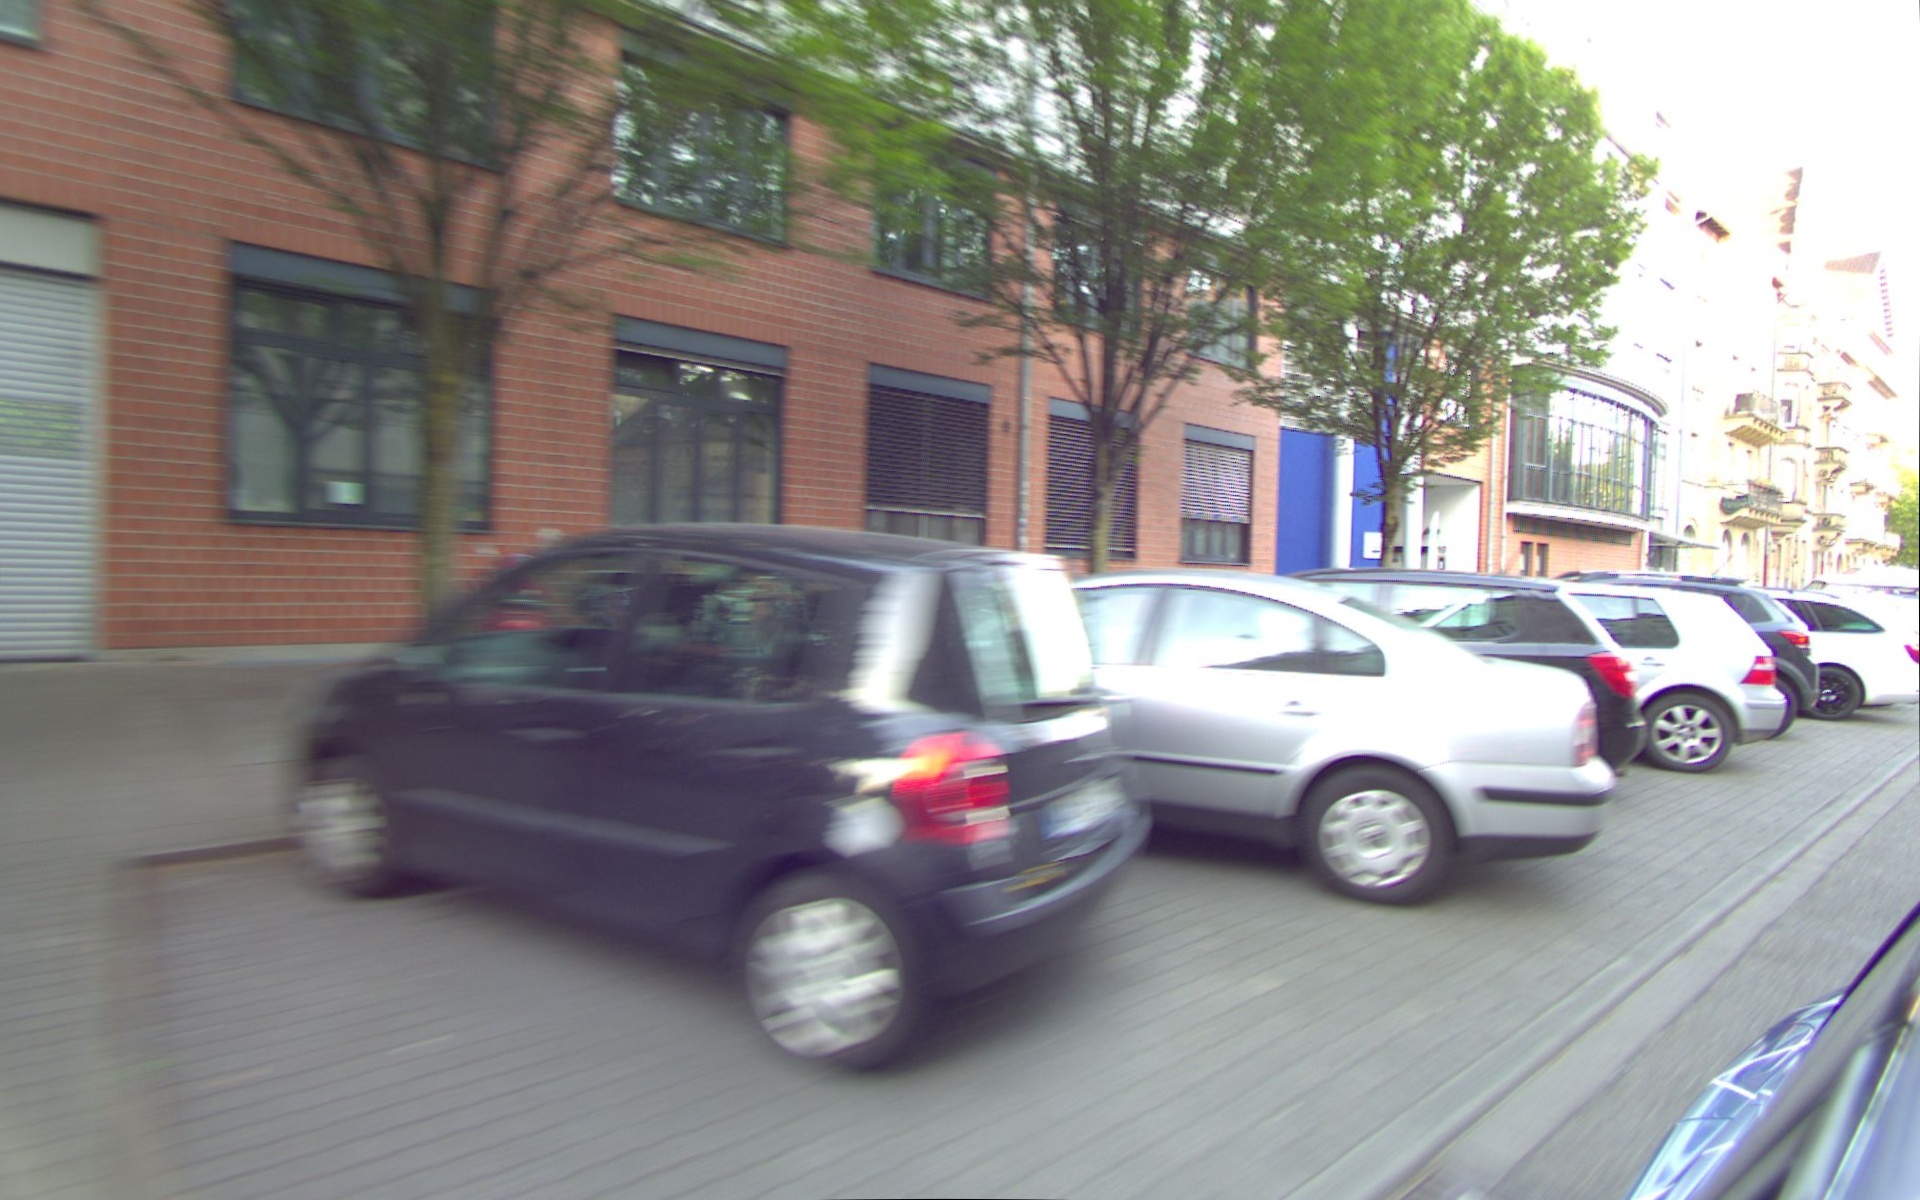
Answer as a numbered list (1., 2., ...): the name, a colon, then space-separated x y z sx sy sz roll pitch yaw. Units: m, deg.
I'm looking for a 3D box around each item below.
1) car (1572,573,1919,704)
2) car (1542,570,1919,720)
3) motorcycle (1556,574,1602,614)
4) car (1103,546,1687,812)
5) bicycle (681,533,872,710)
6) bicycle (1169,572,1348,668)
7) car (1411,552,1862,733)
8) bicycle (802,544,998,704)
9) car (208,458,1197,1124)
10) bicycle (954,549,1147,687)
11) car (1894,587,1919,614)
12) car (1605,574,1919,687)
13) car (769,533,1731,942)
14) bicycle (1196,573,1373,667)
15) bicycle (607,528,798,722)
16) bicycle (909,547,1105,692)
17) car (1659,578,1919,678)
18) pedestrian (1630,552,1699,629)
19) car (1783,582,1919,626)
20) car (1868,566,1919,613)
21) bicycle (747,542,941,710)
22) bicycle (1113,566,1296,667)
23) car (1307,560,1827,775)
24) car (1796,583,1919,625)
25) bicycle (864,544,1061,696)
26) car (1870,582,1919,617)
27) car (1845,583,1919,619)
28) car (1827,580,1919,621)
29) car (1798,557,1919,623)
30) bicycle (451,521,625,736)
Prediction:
1. car: 11.073 0.460 14.148 3.950 1.541 1.700 2 3 20
2. car: 9.557 0.481 12.350 3.950 1.556 1.626 2 1 20
3. motorcycle: 18.262 -0.178 29.855 2.050 1.116 0.589 -1 5 -44
4. car: 3.004 0.425 7.528 3.564 1.553 1.551 2 2 22
5. bicycle: -1.743 0.116 9.155 0.588 1.396 2.542 0 2 -37
6. bicycle: 4.094 0.229 14.149 0.552 1.181 2.542 0 2 -37
7. car: 6.861 0.350 10.721 3.557 1.600 1.707 2 2 17
8. bicycle: -0.672 0.155 9.997 0.588 1.396 2.542 0 2 -37
9. car: -1.225 0.357 4.272 3.968 1.656 1.740 4 2 31
10. bicycle: 0.939 0.128 11.416 0.588 1.396 2.542 0 2 -37
11. car: 55.319 0.125 56.437 4.189 1.470 1.994 3 3 12
12. car: 12.727 0.414 15.894 3.946 1.490 1.866 2 3 17
13. car: 1.290 0.468 5.609 4.334 1.553 1.795 2 2 21
14. bicycle: 4.582 0.239 14.523 0.552 1.181 2.542 0 2 -37
15. bicycle: -2.294 0.122 8.685 0.588 1.259 2.545 0 7 -37
16. bicycle: 0.425 0.133 10.937 0.588 1.396 2.542 0 2 -37
17. car: 14.722 0.437 17.510 3.952 1.525 1.758 2 2 21
18. pedestrian: 19.425 -0.270 27.919 0.842 2.024 0.613 -1 26 -39
19. car: 34.184 0.134 38.493 4.018 1.510 1.713 2 2 19
20. car: 56.898 -0.511 58.725 5.789 2.581 2.192 3 4 9
21. bicycle: -1.177 0.163 9.560 0.588 1.396 2.542 0 2 -37
22. bicycle: 3.153 0.164 13.370 0.552 1.181 2.542 0 2 -37
23. car: 5.009 0.452 8.922 3.564 1.500 1.710 2 2 23
24. car: 36.122 0.137 40.003 4.306 1.521 1.899 2 2 22
25. bicycle: -0.055 0.135 10.495 0.588 1.396 2.542 0 2 -37
26. car: 48.560 0.053 50.612 4.036 1.626 1.811 4 3 12
27. car: 45.913 0.078 49.079 4.000 1.516 1.747 4 3 15
28. car: 40.321 0.070 43.328 4.345 1.504 1.832 4 3 20
29. car: 37.900 -0.444 41.747 4.669 2.578 1.905 2 2 21
30. bicycle: -3.308 0.133 7.758 0.588 1.396 2.542 0 2 -37
